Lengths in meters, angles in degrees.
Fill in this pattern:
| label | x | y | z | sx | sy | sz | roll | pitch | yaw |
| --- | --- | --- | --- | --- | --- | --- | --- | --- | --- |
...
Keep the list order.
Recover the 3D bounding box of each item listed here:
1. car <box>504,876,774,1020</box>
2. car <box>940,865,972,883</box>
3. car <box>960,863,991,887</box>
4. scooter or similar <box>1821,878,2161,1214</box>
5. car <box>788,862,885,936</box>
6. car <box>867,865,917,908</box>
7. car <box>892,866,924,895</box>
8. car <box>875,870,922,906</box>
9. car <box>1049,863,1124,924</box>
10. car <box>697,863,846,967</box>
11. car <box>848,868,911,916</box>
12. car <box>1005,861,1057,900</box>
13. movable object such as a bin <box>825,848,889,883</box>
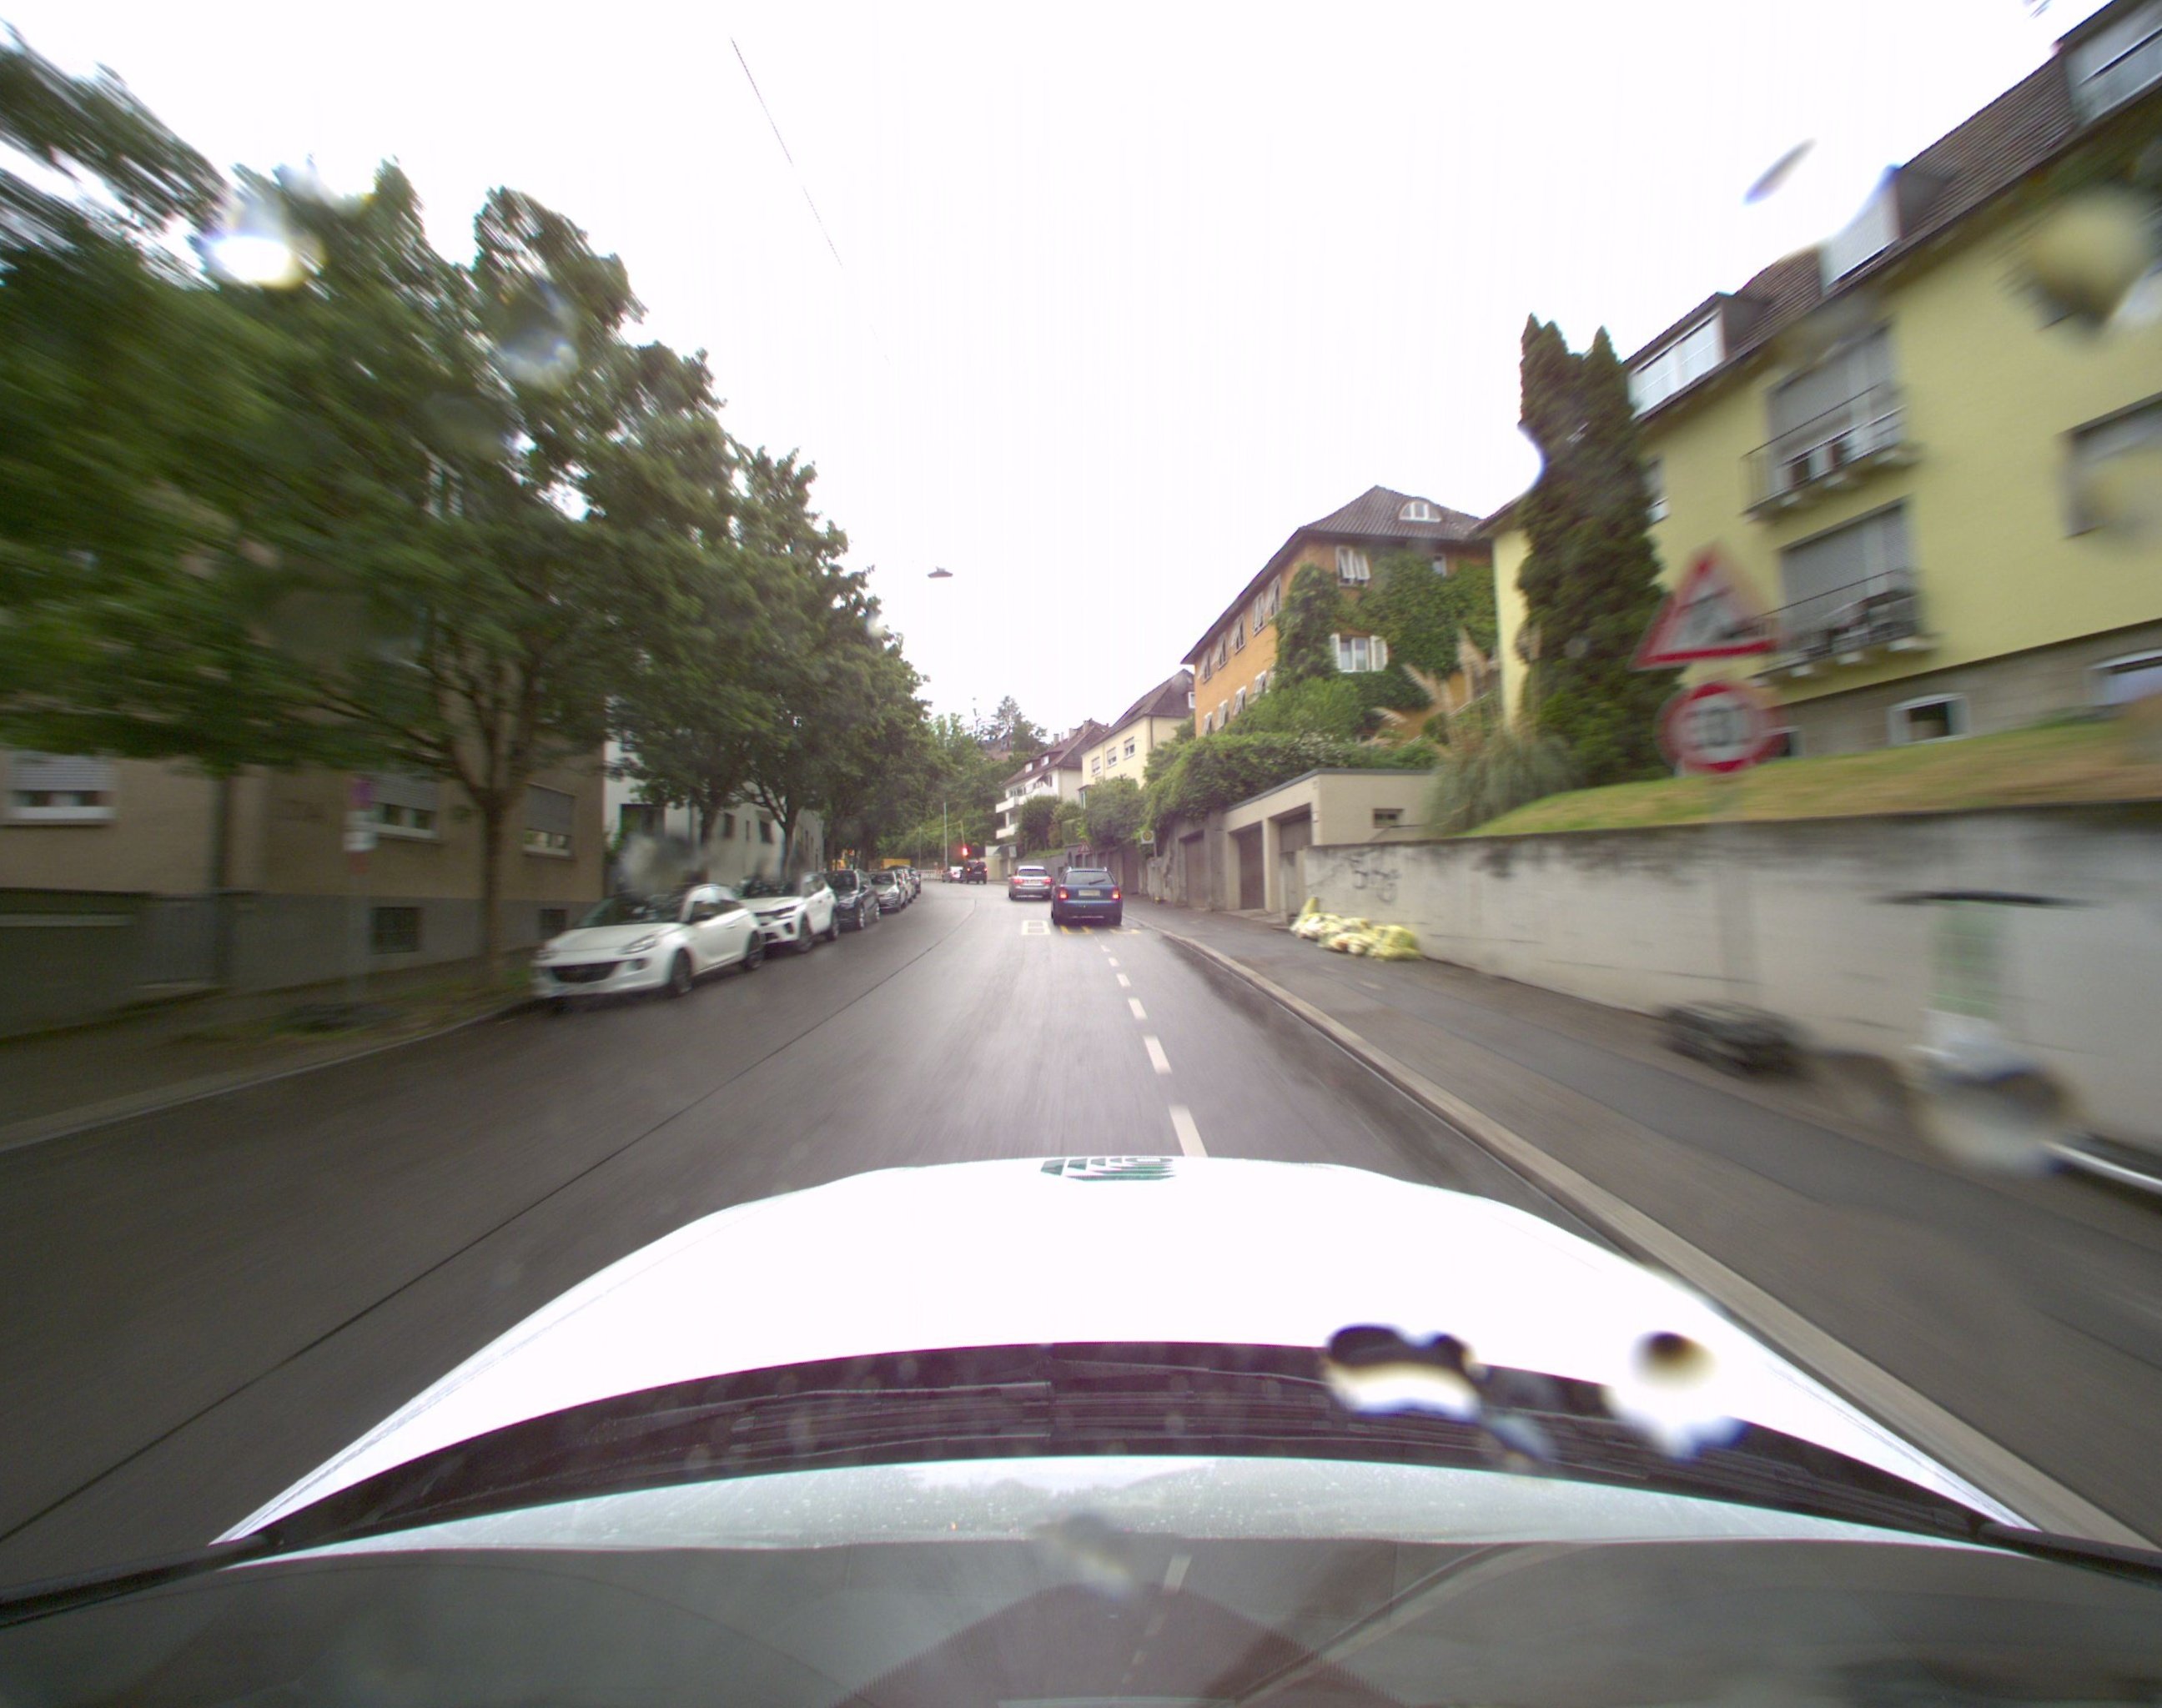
| label | x | y | z | sx | sy | sz | roll | pitch | yaw |
| --- | --- | --- | --- | --- | --- | --- | --- | --- | --- |
| car | -5.960 | 1.165 | 11.531 | 1.612 | 1.471 | 3.669 | -7 | -1 | 1 |
| car | -10.992 | 1.729 | 71.363 | 1.728 | 1.486 | 4.044 | -2 | 0 | -23 |
| car | -8.578 | 1.694 | 65.929 | 1.997 | 1.794 | 3.980 | -2 | 0 | -14 |
| scooter or similar | 4.121 | 0.700 | 3.500 | 0.596 | 1.133 | 1.371 | -3 | 0 | 1 |
| car | -6.389 | 1.126 | 21.694 | 1.616 | 1.658 | 3.915 | -5 | -1 | -6 |
| car | -7.619 | 1.287 | 33.075 | 1.573 | 1.488 | 3.460 | -5 | 0 | -8 |
| car | -9.927 | 1.516 | 46.836 | 1.556 | 1.488 | 4.082 | -5 | -1 | -11 |
| car | -8.502 | 1.551 | 38.278 | 1.663 | 1.488 | 4.463 | -5 | -1 | -7 |
| car | 0.189 | 0.975 | 21.666 | 1.779 | 1.442 | 3.964 | -1 | -1 | 1 |
| car | -6.057 | 1.112 | 16.401 | 1.590 | 1.658 | 3.917 | -6 | -1 | -5 |
| car | -7.145 | 1.324 | 29.205 | 1.617 | 1.470 | 3.961 | -4 | -1 | -7 |
| car | -2.277 | 1.117 | 36.069 | 1.926 | 1.618 | 4.306 | 0 | 0 | -9 |
| movable object such as a bin | -26.574 | 1.379 | 96.544 | 7.235 | 4.014 | 2.845 | -1 | -1 | 27 |
